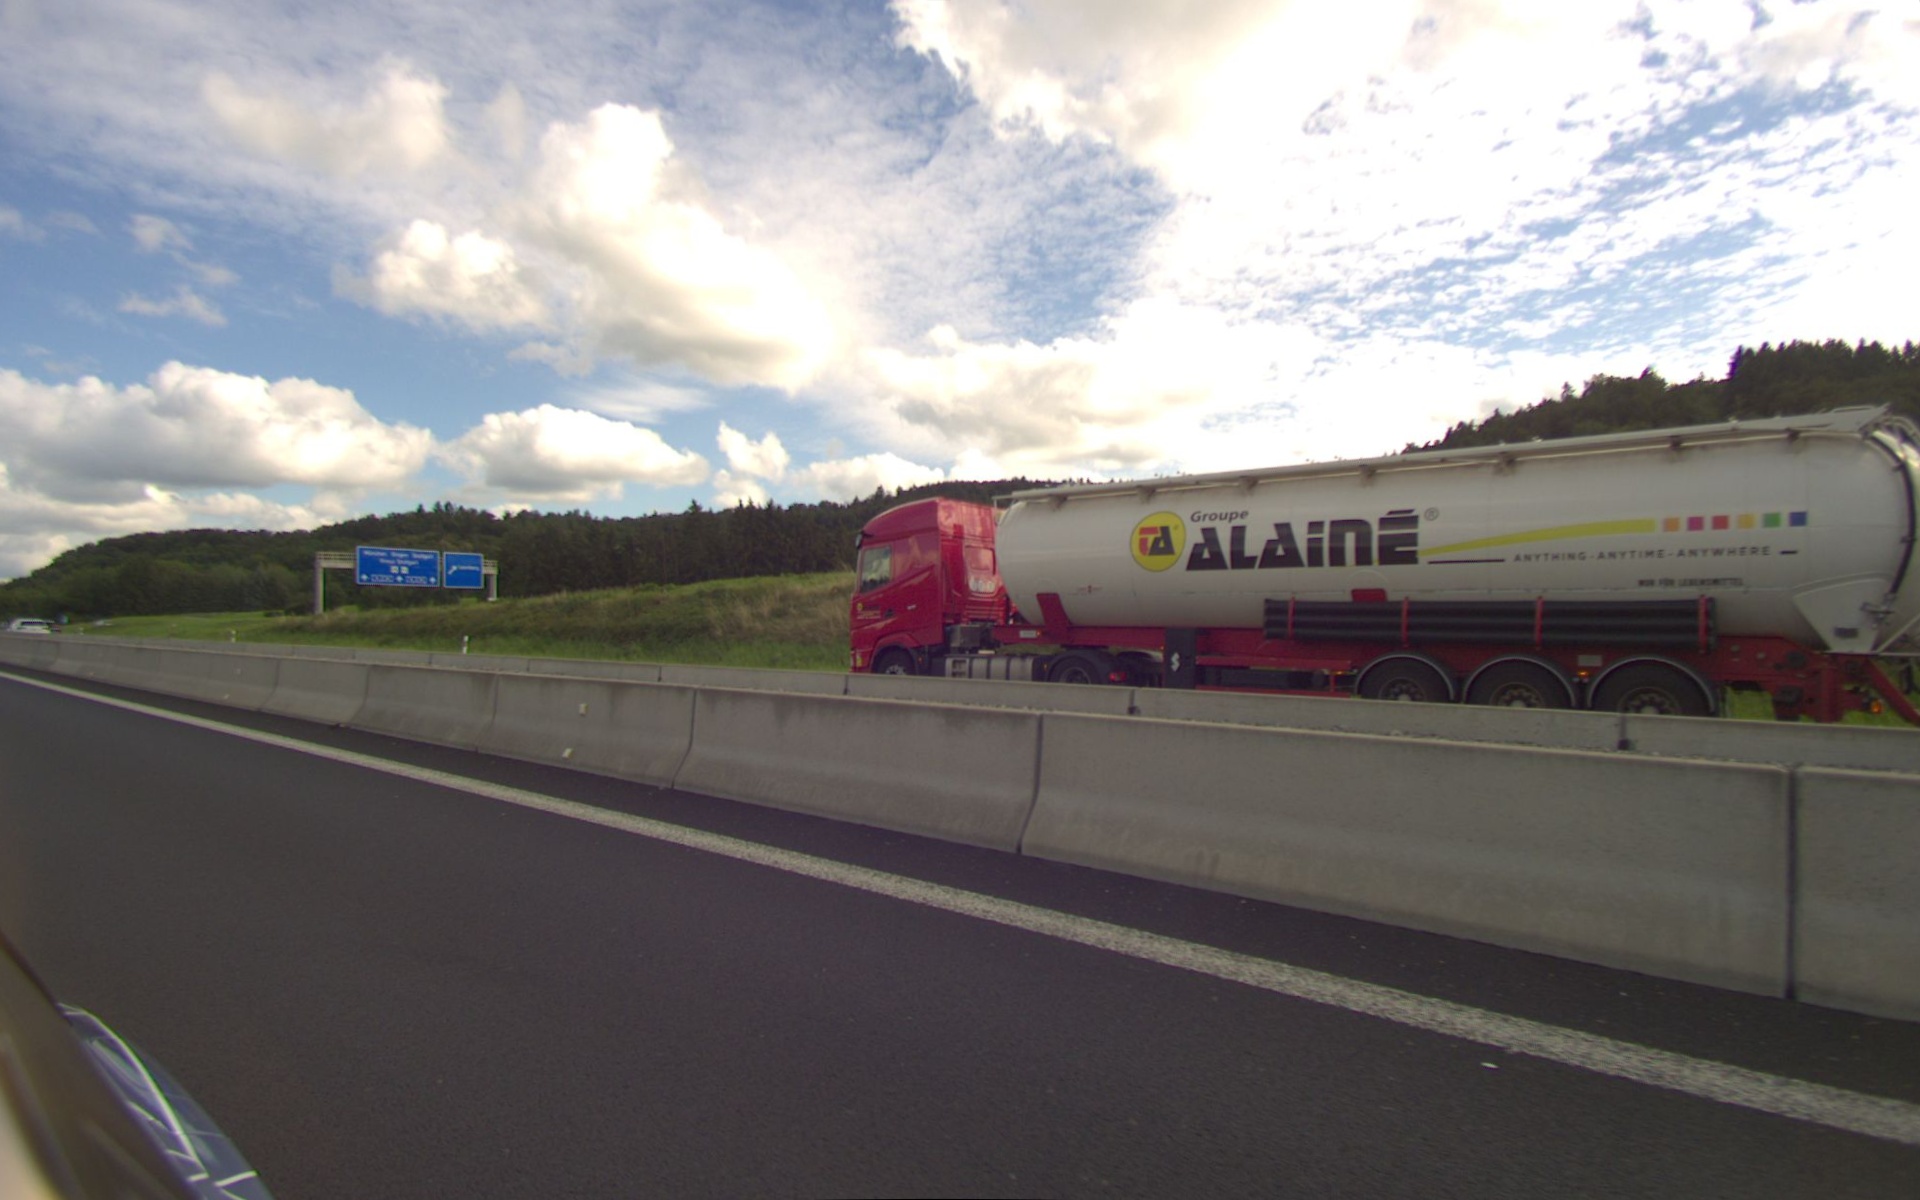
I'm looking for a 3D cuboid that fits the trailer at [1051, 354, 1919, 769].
[{"bbox_3d":[6.538,-0.267,13.566,11.155,3.916,2.685,-1,-3,41],"label":"trailer"}]

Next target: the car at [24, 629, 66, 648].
[{"bbox_3d":[-75.415,3.160,83.390,4.689,1.490,1.973,-1,-3,41],"label":"car"}]

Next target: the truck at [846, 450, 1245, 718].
[{"bbox_3d":[1.305,-0.157,18.206,6.898,3.954,2.709,-1,-3,41],"label":"truck"}]

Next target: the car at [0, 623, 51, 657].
[{"bbox_3d":[-59.026,2.492,63.840,4.675,2.029,1.973,-1,-2,41],"label":"car"}]
